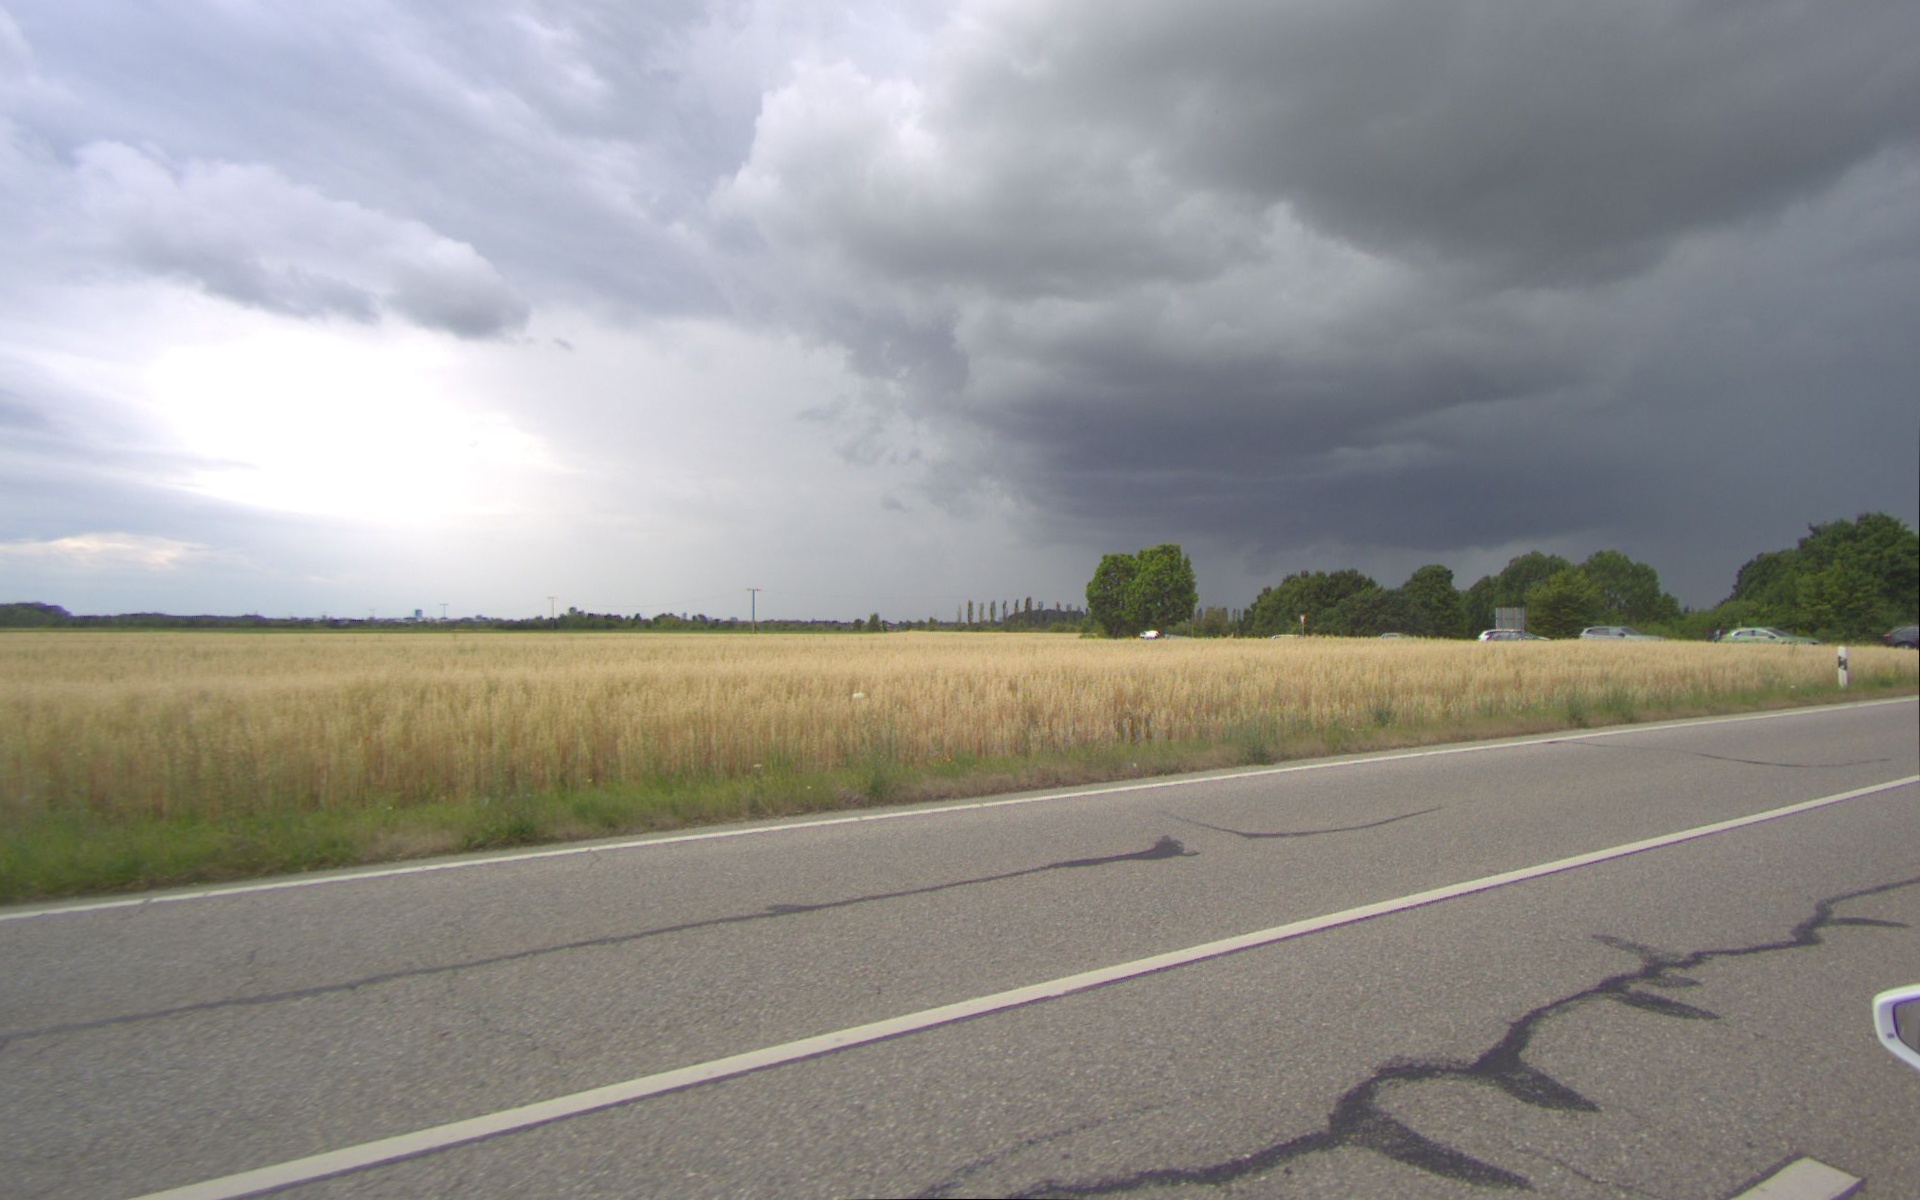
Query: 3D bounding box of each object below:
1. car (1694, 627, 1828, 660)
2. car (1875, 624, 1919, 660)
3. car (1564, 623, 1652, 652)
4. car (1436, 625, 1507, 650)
[{"bbox_3d":[42.438,2.266,53.383,1.841,1.670,5.291,1,-2,-26],"label":"car"},{"bbox_3d":[45.634,1.958,46.654,1.486,1.670,4.386,1,-2,-33],"label":"car"},{"bbox_3d":[38.560,2.240,59.865,1.842,1.670,4.059,1,-2,-26],"label":"car"},{"bbox_3d":[34.926,2.537,68.732,1.842,1.670,4.059,1,-2,-26],"label":"car"}]
